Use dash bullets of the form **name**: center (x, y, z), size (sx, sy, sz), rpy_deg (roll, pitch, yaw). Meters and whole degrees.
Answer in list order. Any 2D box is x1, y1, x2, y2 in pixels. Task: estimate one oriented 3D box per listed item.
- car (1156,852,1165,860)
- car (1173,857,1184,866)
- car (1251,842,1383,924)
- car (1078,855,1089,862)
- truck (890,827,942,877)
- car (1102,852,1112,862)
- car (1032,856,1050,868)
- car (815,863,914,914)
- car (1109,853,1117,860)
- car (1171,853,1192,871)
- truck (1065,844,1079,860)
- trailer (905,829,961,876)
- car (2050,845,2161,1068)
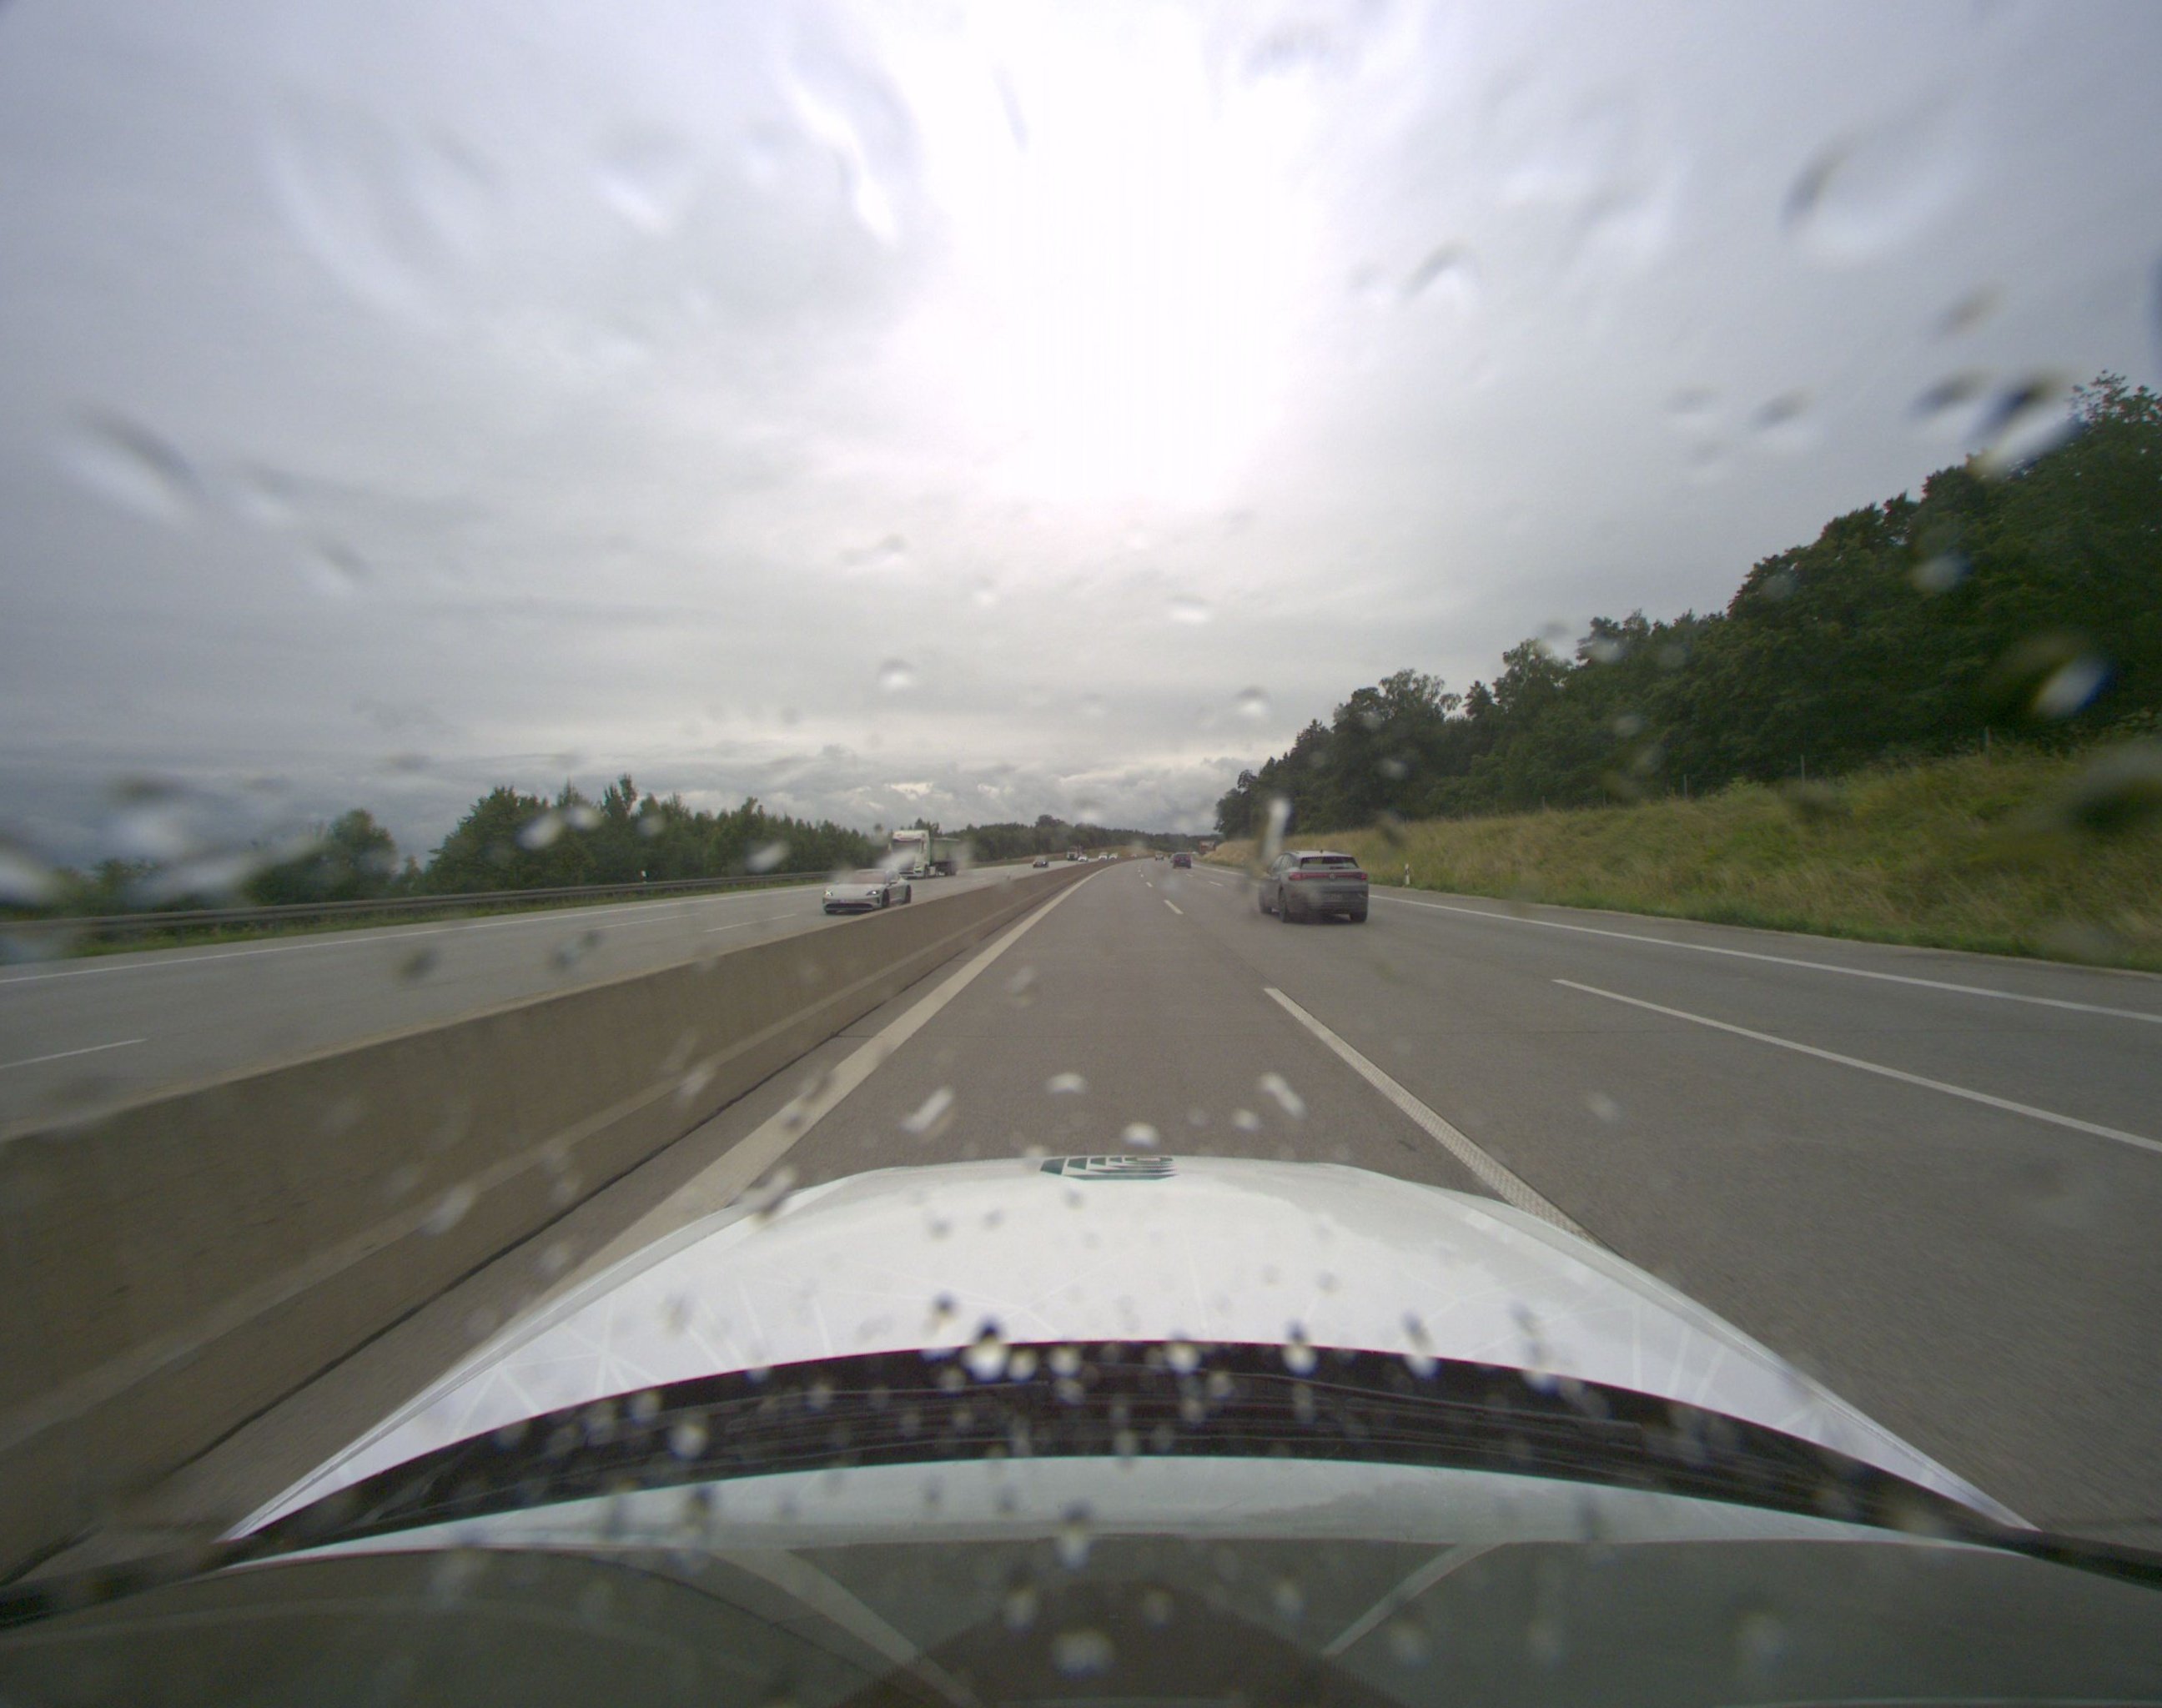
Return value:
- **car**: center (18.269, 0.488, 187.859), size (1.831, 1.500, 4.008), rpy_deg (-4, 1, 7)
- **car**: center (16.930, 1.302, 141.691), size (1.791, 1.465, 3.818), rpy_deg (-1, 1, 6)
- **car**: center (5.447, 0.564, 19.526), size (1.890, 1.689, 5.271), rpy_deg (-1, 1, 3)
- **car**: center (0.558, 0.922, 170.468), size (1.728, 1.367, 4.104), rpy_deg (2, 2, 5)
- **truck**: center (-13.066, -0.140, 64.983), size (2.739, 3.802, 5.535), rpy_deg (-1, -1, 3)
- **car**: center (5.691, 0.574, 178.477), size (1.985, 2.013, 5.531), rpy_deg (0, 1, 4)
- **car**: center (-5.421, 1.099, 111.229), size (1.985, 1.589, 4.775), rpy_deg (-1, 0, 3)
- **car**: center (-7.226, 1.108, 27.740), size (1.986, 1.441, 4.769), rpy_deg (0, 1, 1)
- **car**: center (7.983, 0.629, 201.408), size (1.706, 1.420, 4.220), rpy_deg (2, 2, 5)
- **car**: center (10.786, 0.861, 87.606), size (1.778, 1.746, 3.918), rpy_deg (-4, 1, 3)
- **truck**: center (-2.139, -0.453, 194.453), size (2.574, 3.652, 7.670), rpy_deg (-1, 0, 4)
- **trailer**: center (-12.766, -0.147, 71.118), size (2.738, 3.800, 9.322), rpy_deg (-1, 0, 2)
- **car**: center (7.902, 0.701, 4.301), size (1.480, 1.470, 3.506), rpy_deg (-1, 1, 2)
